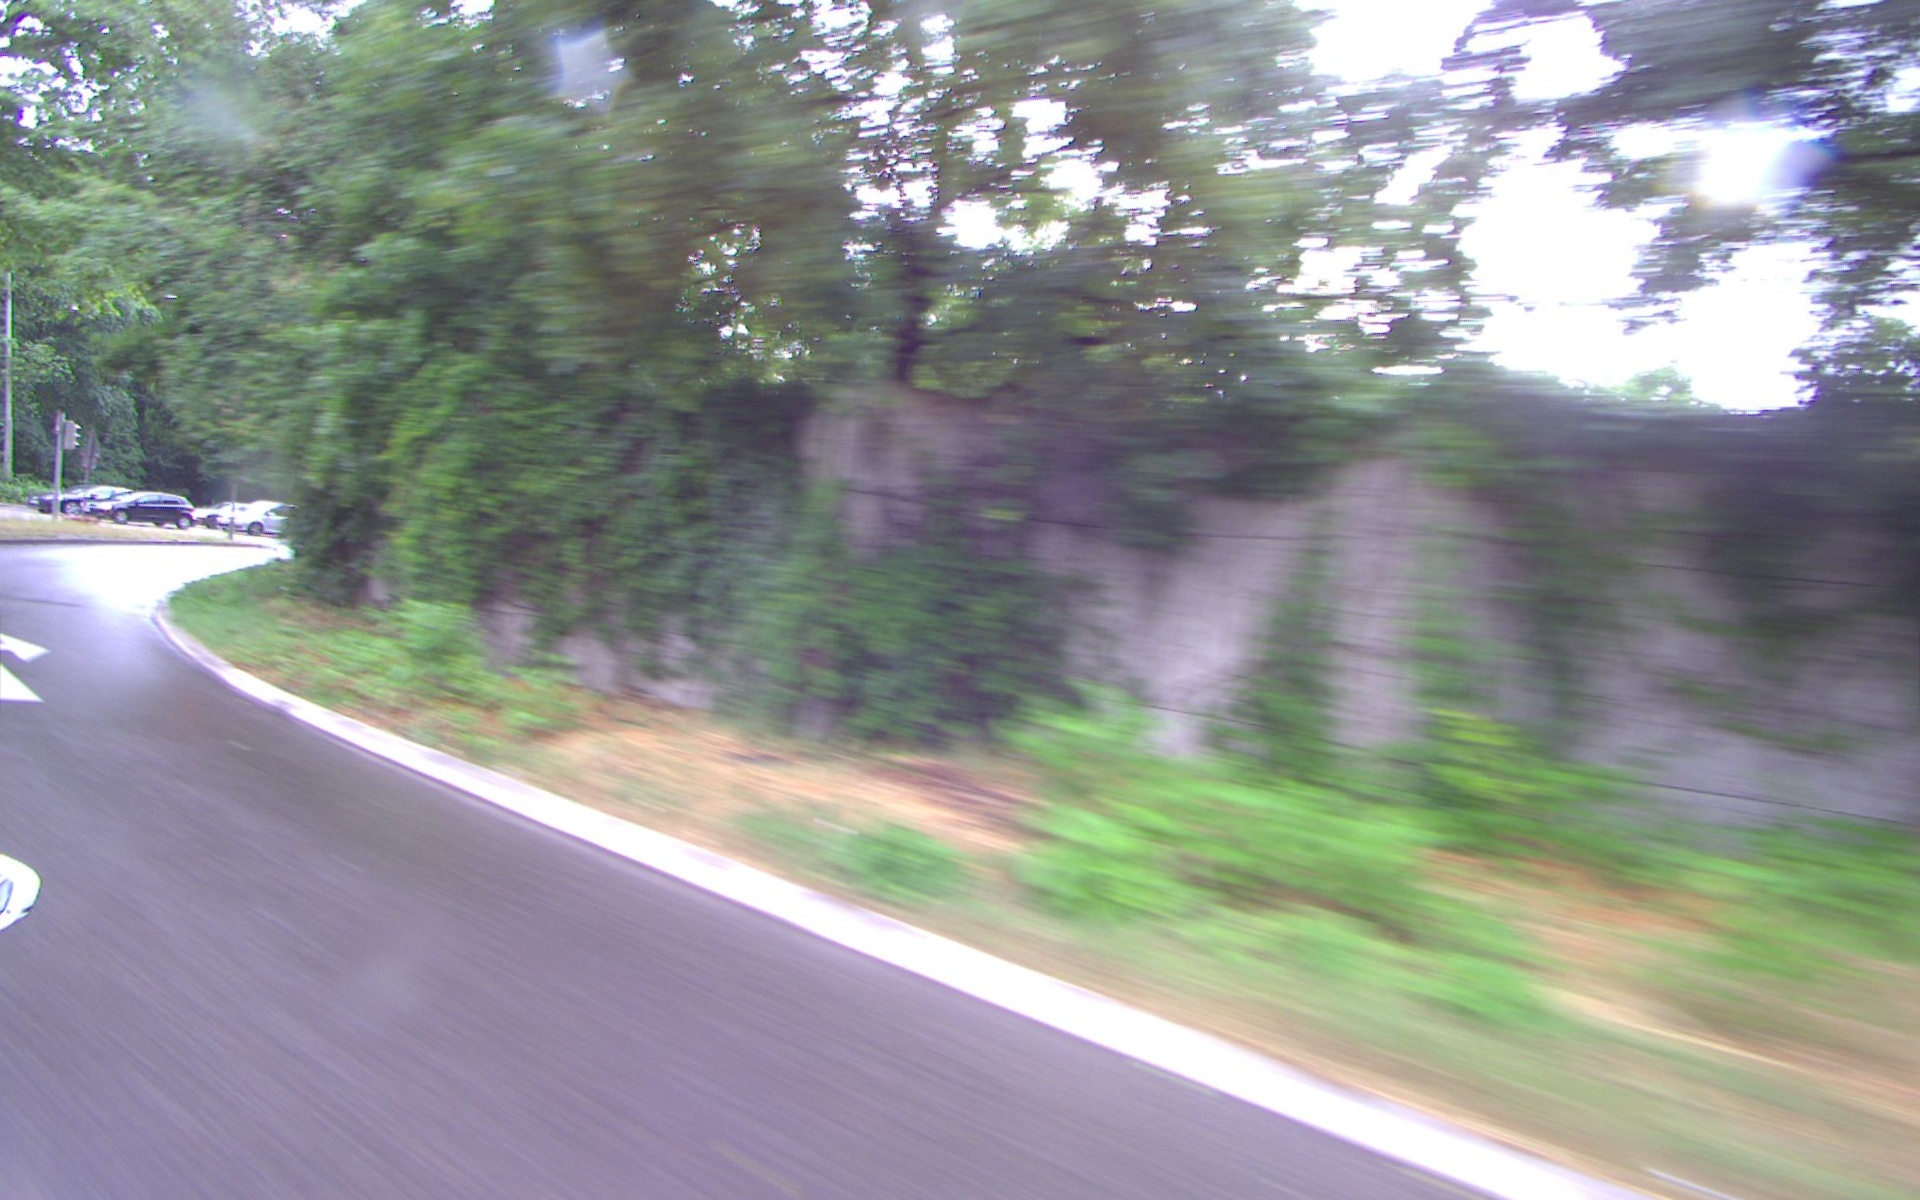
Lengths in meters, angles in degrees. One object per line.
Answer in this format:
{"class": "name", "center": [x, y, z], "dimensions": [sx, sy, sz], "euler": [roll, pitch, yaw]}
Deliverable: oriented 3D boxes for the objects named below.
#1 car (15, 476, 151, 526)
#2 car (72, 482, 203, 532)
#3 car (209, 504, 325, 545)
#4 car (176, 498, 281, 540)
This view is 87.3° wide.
{"class": "car", "center": [-37.629, -4.228, 43.280], "dimensions": [1.843, 1.504, 4.001], "euler": [7, 0, 14]}
{"class": "car", "center": [-34.081, -3.819, 41.816], "dimensions": [1.641, 1.504, 3.866], "euler": [6, 0, 19]}
{"class": "car", "center": [-32.678, -3.529, 47.563], "dimensions": [1.741, 1.506, 4.268], "euler": [6, 2, 20]}
{"class": "car", "center": [-35.497, -3.912, 48.938], "dimensions": [1.712, 1.505, 3.835], "euler": [7, 1, 14]}
